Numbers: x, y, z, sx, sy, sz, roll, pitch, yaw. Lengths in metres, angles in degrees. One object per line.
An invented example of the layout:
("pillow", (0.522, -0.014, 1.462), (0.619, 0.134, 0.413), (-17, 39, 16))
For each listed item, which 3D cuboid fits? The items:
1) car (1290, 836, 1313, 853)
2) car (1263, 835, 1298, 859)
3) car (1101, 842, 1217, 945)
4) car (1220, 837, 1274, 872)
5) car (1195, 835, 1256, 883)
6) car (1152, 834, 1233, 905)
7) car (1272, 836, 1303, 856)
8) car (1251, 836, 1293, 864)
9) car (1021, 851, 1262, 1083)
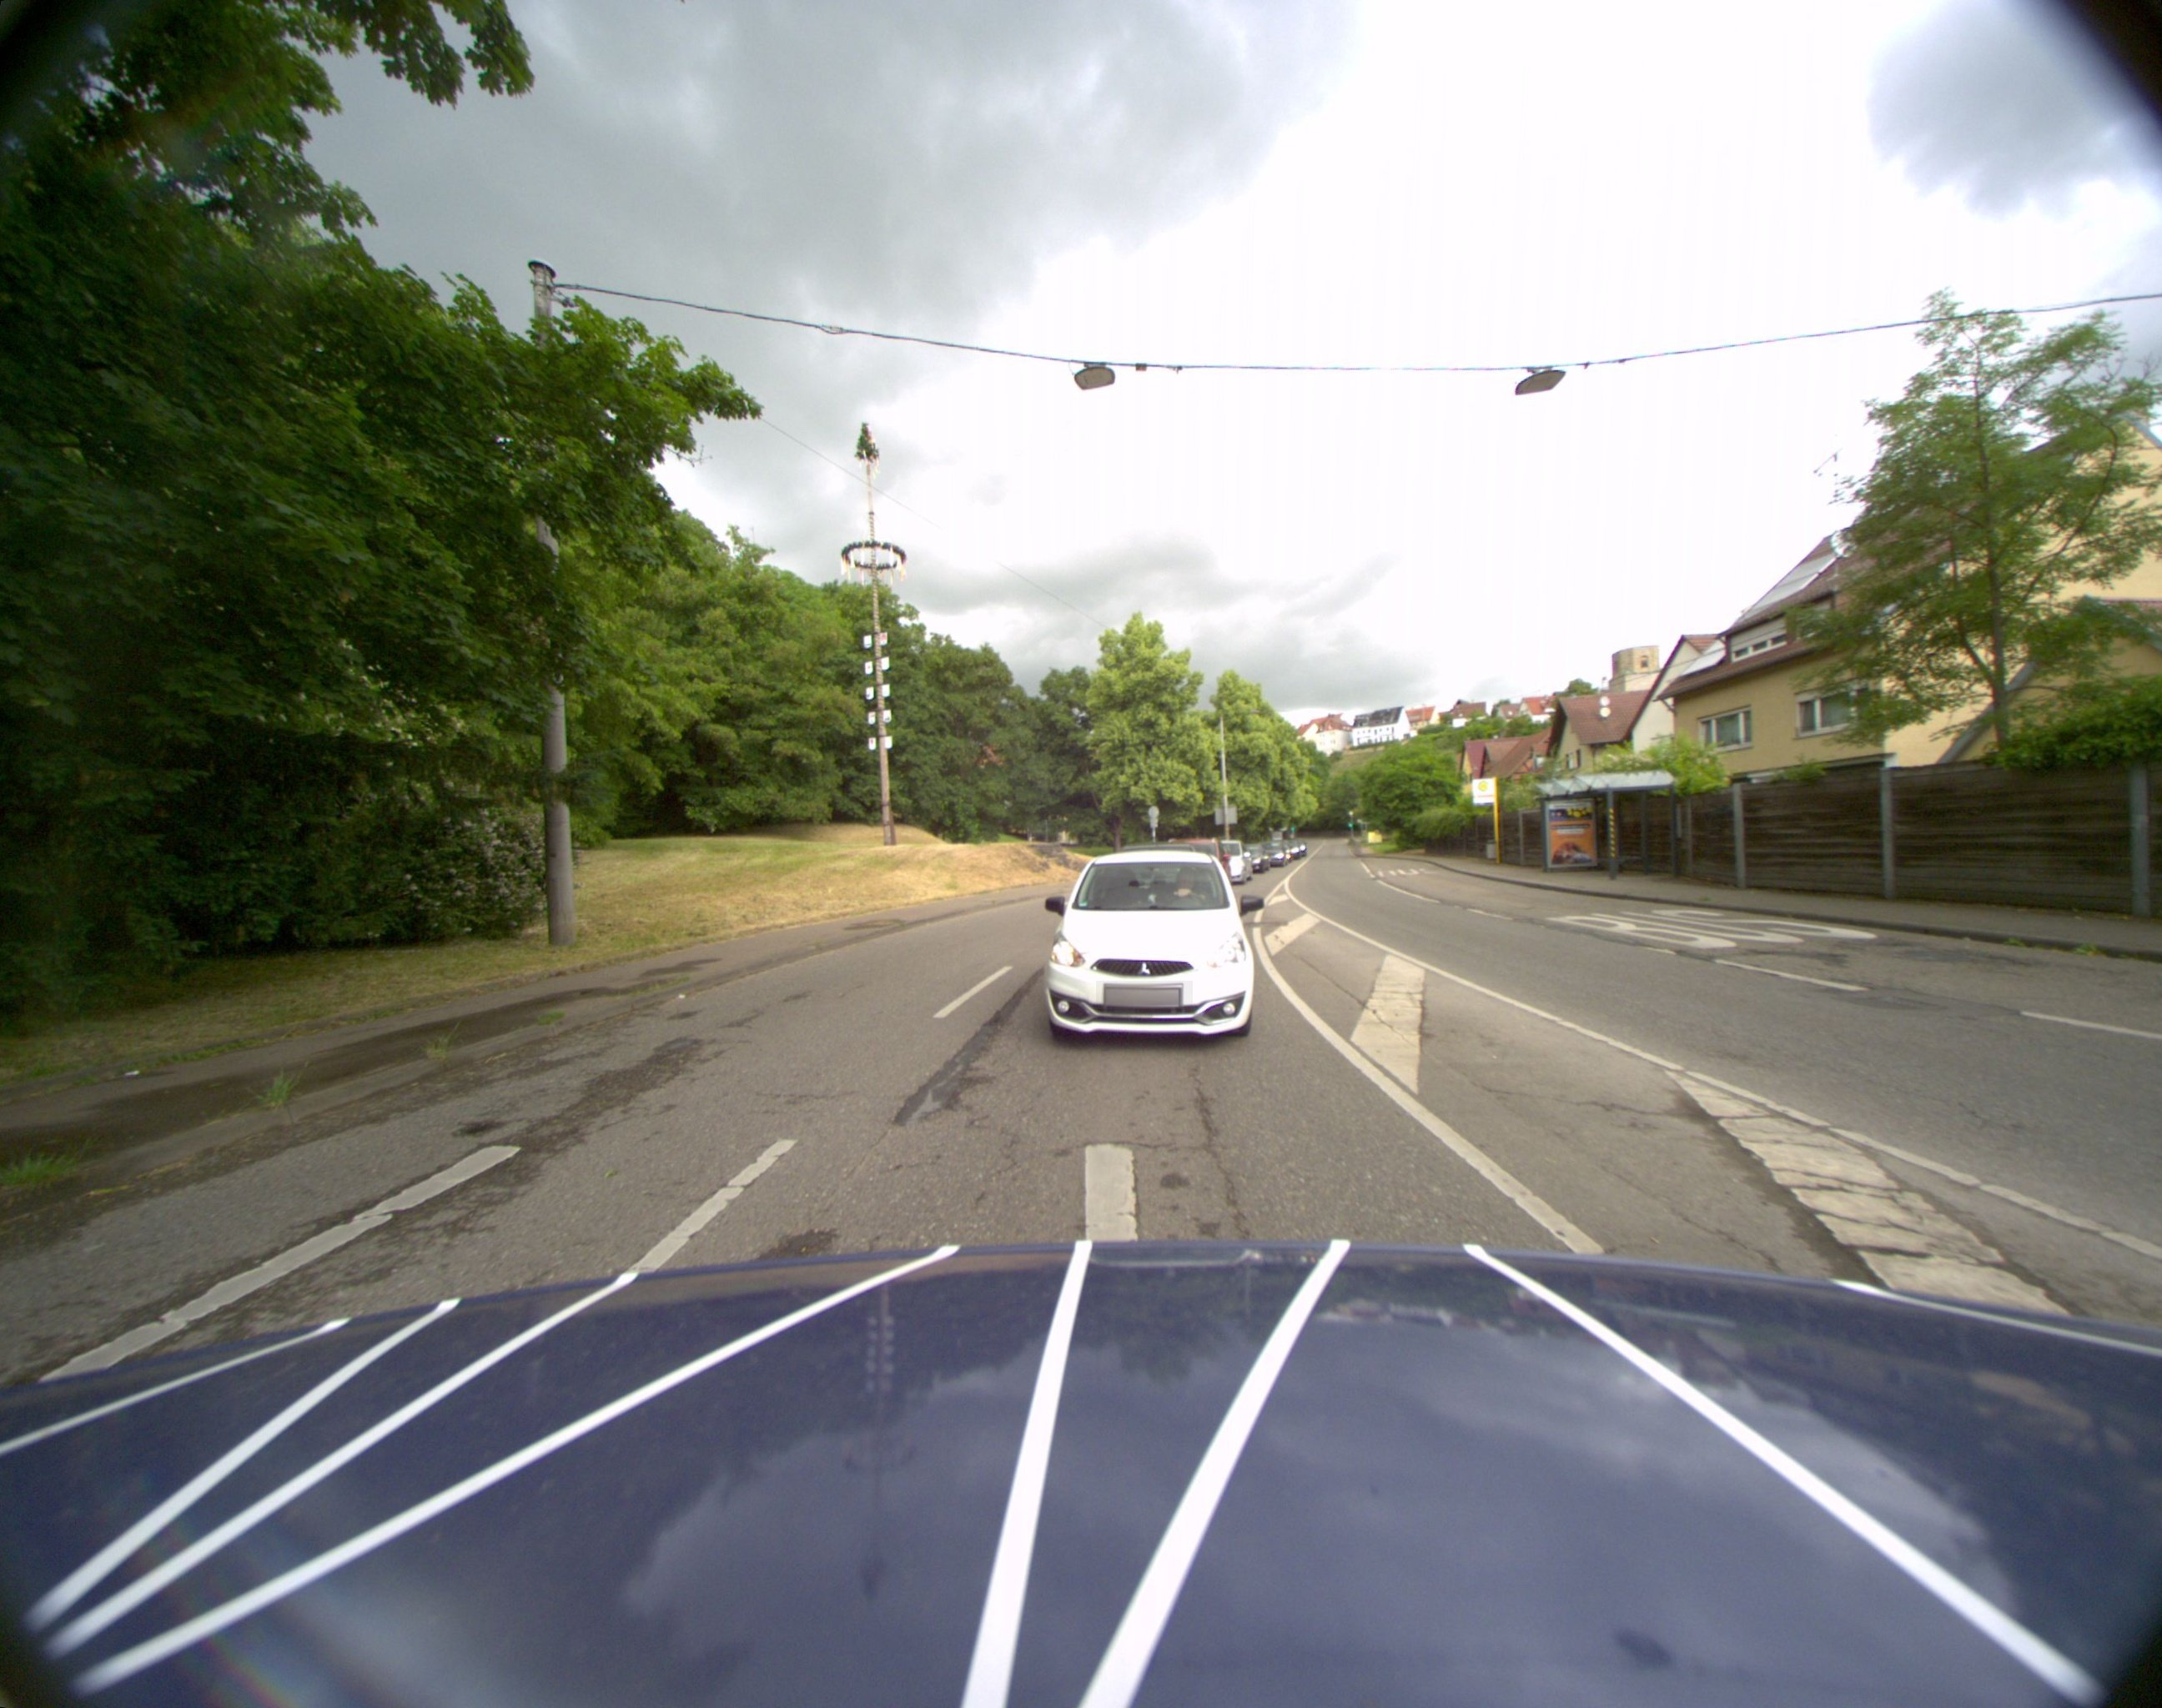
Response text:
("car", (17.429, -0.799, 60.009), (1.417, 1.242, 3.300), (-1, 1, 21))
("car", (12.865, -0.469, 48.817), (1.704, 1.438, 3.872), (-1, 1, 21))
("car", (1.506, 0.599, 13.749), (1.729, 1.512, 4.002), (-2, 1, 9))
("car", (7.965, -0.006, 36.166), (1.851, 1.449, 4.005), (-1, 1, 21))
("car", (5.370, 0.131, 27.879), (1.781, 1.560, 4.004), (-2, 1, 16))
("car", (3.039, 0.338, 20.059), (1.673, 1.632, 4.104), (-2, 1, 14))
("car", (14.521, -0.552, 53.336), (1.642, 1.262, 3.630), (-1, 1, 21))
("car", (10.710, -0.234, 42.427), (1.694, 1.403, 3.987), (-1, 1, 21))
("car", (0.657, 0.795, 7.260), (1.627, 1.500, 4.001), (-2, 1, 7))
